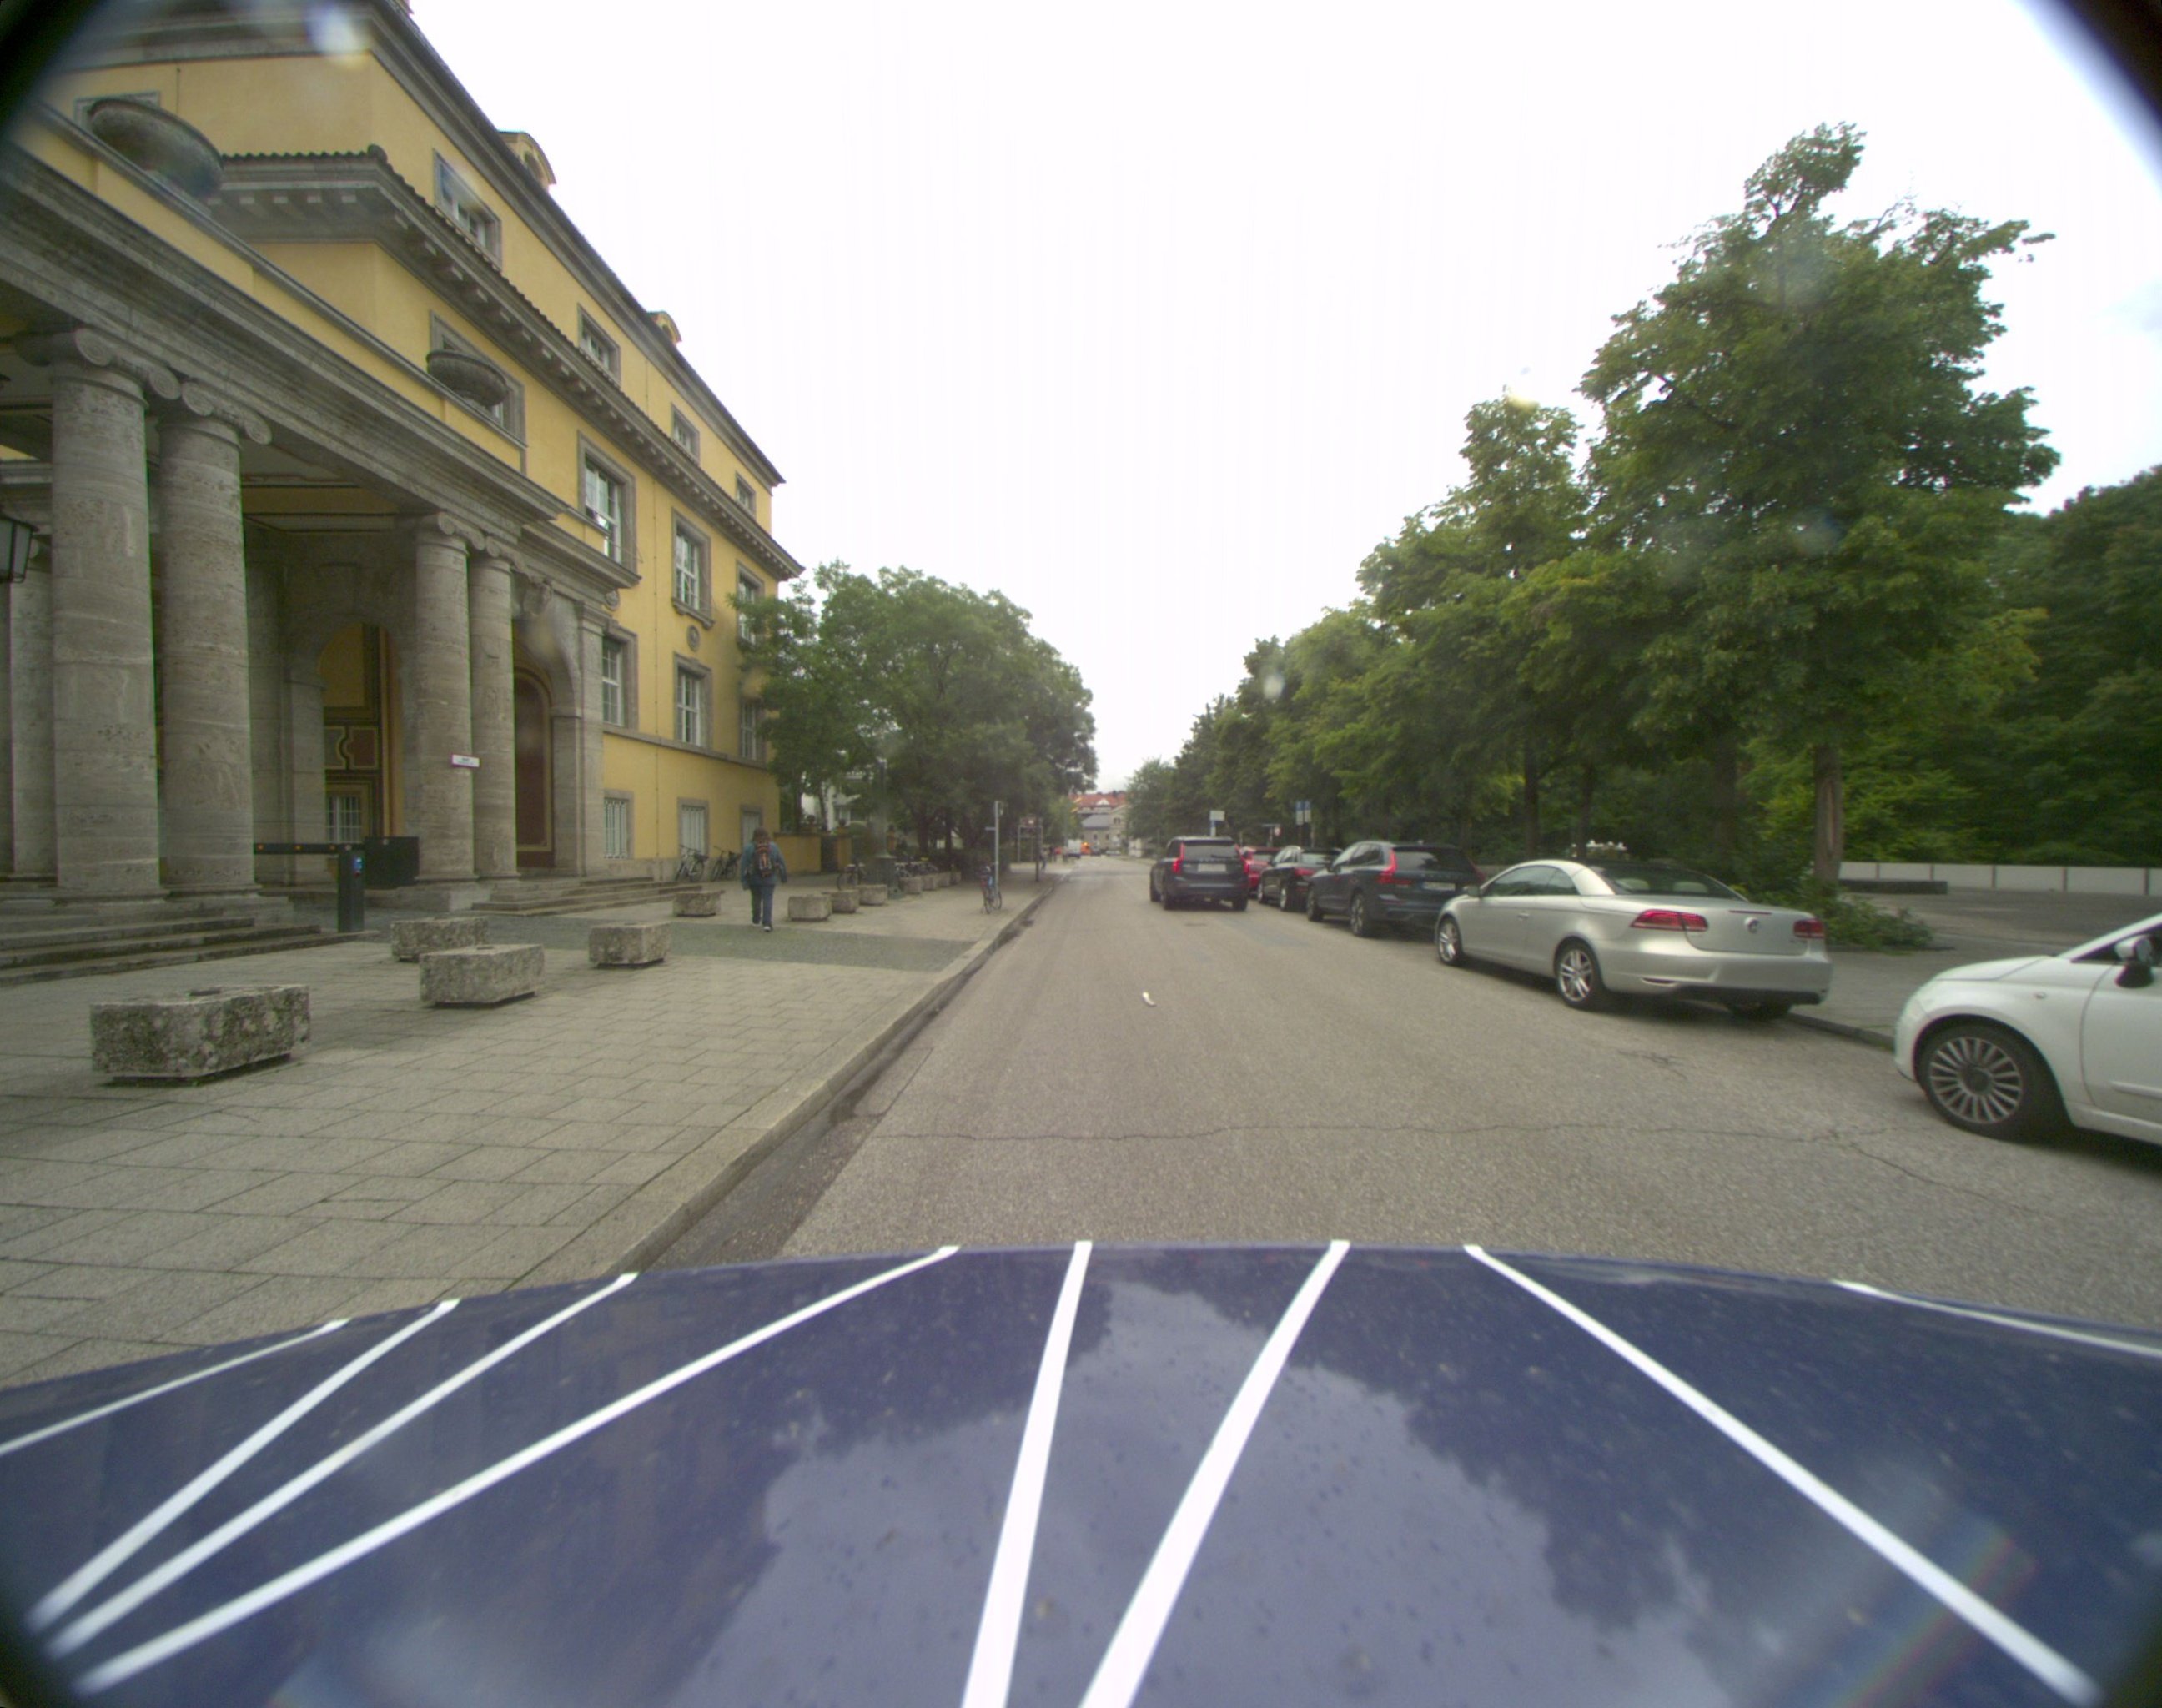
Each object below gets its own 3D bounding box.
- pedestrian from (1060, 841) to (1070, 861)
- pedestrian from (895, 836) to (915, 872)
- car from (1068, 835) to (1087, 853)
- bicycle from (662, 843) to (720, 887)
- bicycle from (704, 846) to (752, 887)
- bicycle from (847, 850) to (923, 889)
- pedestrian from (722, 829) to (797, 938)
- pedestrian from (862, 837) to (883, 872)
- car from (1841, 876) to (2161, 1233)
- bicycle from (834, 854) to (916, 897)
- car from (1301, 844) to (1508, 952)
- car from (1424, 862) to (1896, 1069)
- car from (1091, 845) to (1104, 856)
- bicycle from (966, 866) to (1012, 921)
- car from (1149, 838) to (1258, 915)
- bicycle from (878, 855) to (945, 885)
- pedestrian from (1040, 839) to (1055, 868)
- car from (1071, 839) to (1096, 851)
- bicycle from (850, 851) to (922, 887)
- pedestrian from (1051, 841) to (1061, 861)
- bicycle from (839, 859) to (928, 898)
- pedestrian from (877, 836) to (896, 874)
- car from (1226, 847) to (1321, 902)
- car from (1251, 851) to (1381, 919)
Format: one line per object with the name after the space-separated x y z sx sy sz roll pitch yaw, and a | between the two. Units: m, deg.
-1.489 -0.317 71.588 0.777 1.855 0.997 -3 2 -5 | pedestrian
-9.570 -0.015 41.294 0.782 1.855 1.035 3 2 1 | pedestrian
-0.558 -1.432 106.227 2.236 2.289 4.728 -3 2 -4 | car
-12.032 0.317 23.525 0.601 1.299 2.264 1 1 1 | bicycle
-11.990 0.395 25.884 0.601 1.299 2.164 1 1 1 | bicycle
-6.352 0.513 24.733 2.265 1.053 0.601 5 1 -10 | bicycle
-5.356 0.462 12.714 0.790 1.736 1.055 1 1 0 | pedestrian
-10.445 0.020 38.027 0.741 1.734 0.841 3 2 1 | pedestrian
5.378 0.906 2.810 1.547 1.462 3.552 2 1 1 | car
-6.182 0.633 22.881 2.265 1.088 0.601 5 1 -10 | bicycle
5.595 0.651 13.898 1.998 1.574 4.522 2 1 3 | car
5.380 0.877 7.940 1.762 1.392 4.217 3 1 2 | car
2.858 -0.619 134.192 2.222 1.840 4.730 -3 2 1 | car
-2.121 0.883 17.748 0.762 1.094 2.263 2 1 0 | bicycle
2.938 0.463 19.324 1.965 1.672 4.911 1 1 0 | car
-6.192 0.589 27.799 2.261 1.005 0.602 2 1 3 | bicycle
-2.062 -0.025 46.322 0.798 1.722 0.660 -3 2 0 | pedestrian
0.589 -1.976 169.077 4.973 2.521 2.577 -1 2 44 | car
-6.560 0.506 25.648 2.265 1.018 0.601 5 1 -10 | bicycle
-2.330 -0.275 71.399 0.777 1.855 0.996 -3 2 -7 | pedestrian
-5.621 0.699 21.758 2.370 1.000 0.677 2 1 -8 | bicycle
-9.725 0.046 38.021 0.659 1.855 0.820 3 2 1 | pedestrian
5.941 0.574 23.961 1.998 1.535 4.364 1 1 2 | car
5.765 0.685 19.322 1.998 1.452 4.647 1 1 2 | car
